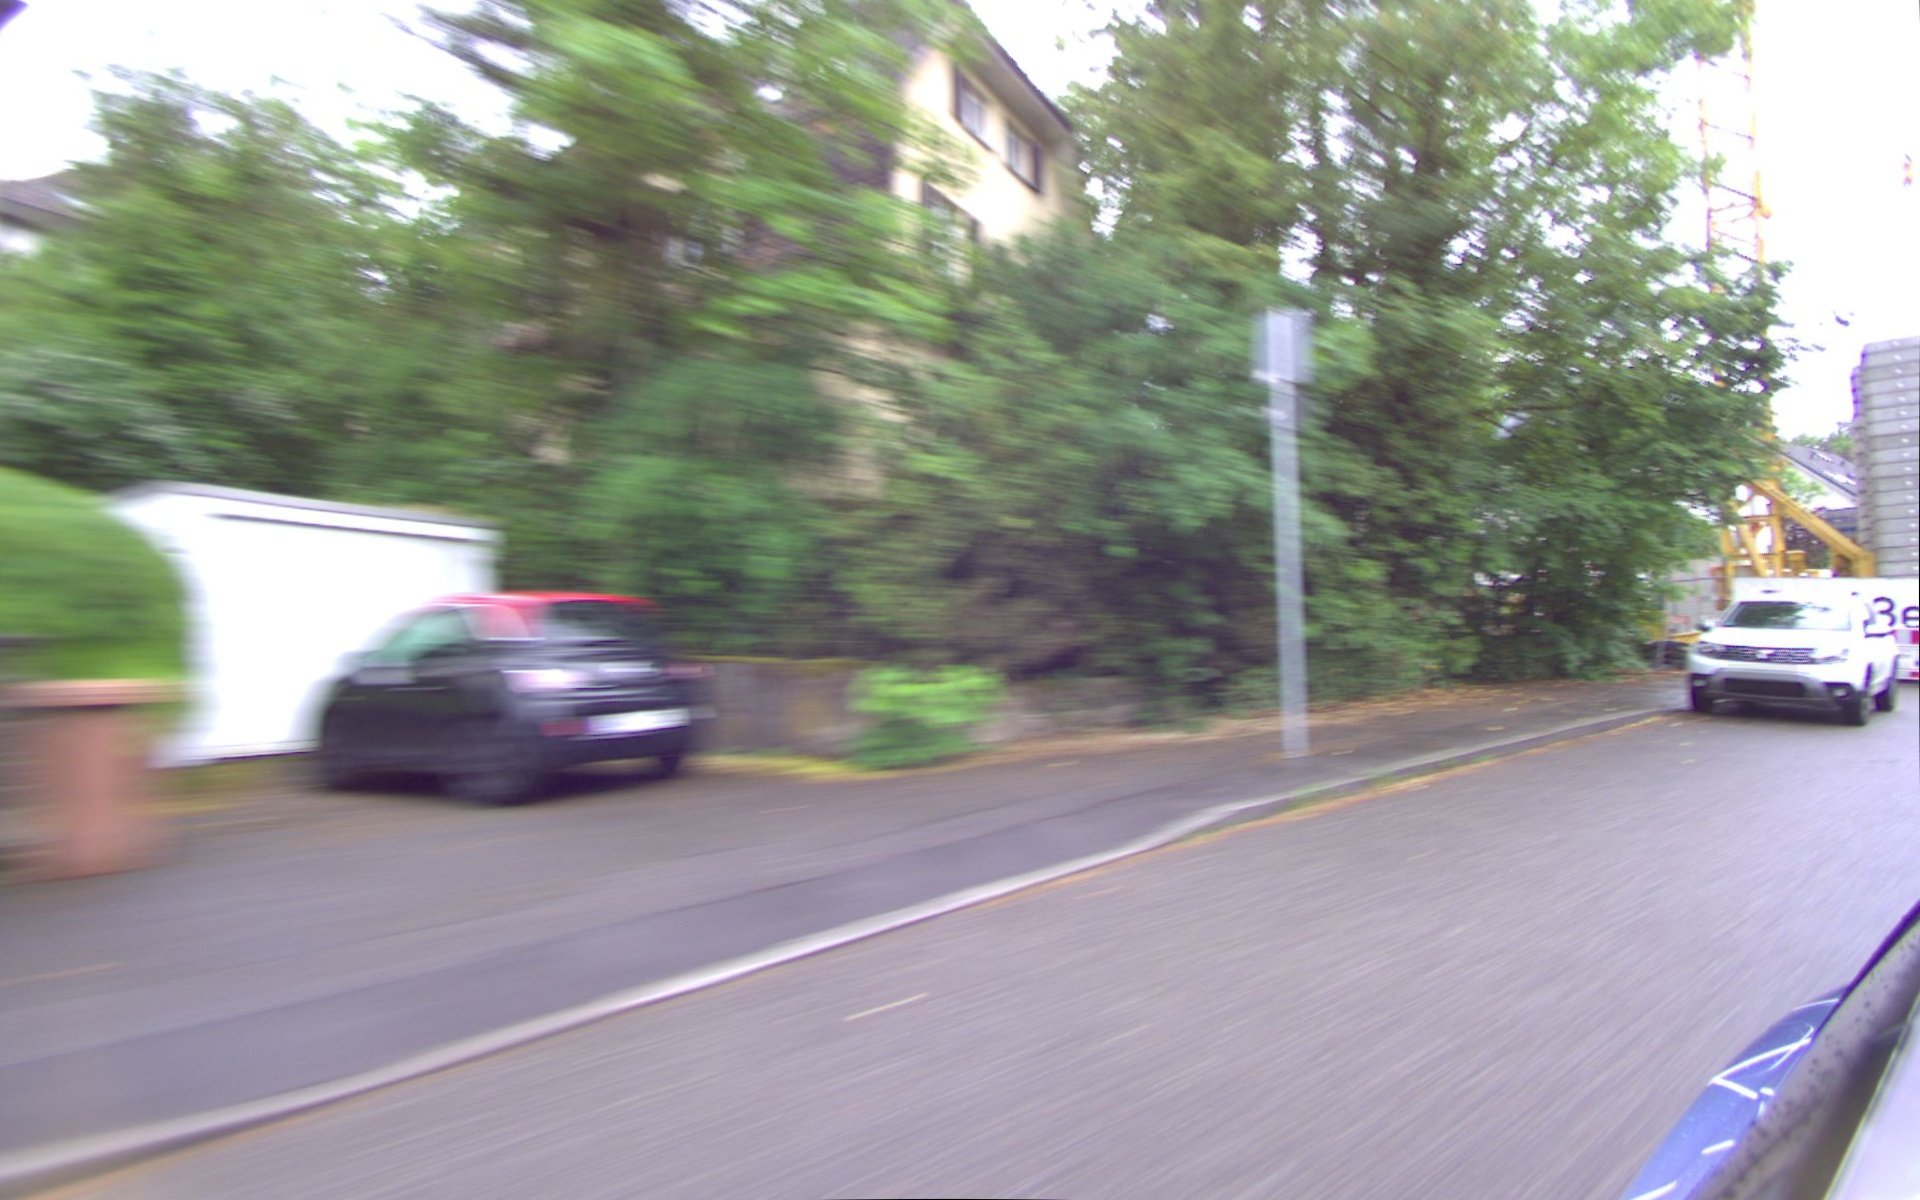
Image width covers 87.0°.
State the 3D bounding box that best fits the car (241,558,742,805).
[{"bbox_3d":[-3.800,0.596,8.049,3.968,1.516,1.752,-3,-3,32],"label":"car"}]

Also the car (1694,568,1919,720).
[{"bbox_3d":[11.563,0.500,13.690,4.424,1.727,1.747,0,0,-42],"label":"car"}]

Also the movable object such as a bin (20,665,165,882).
[{"bbox_3d":[-4.133,0.792,4.824,0.418,0.932,0.456,-1,-2,40],"label":"movable object such as a bin"}]
